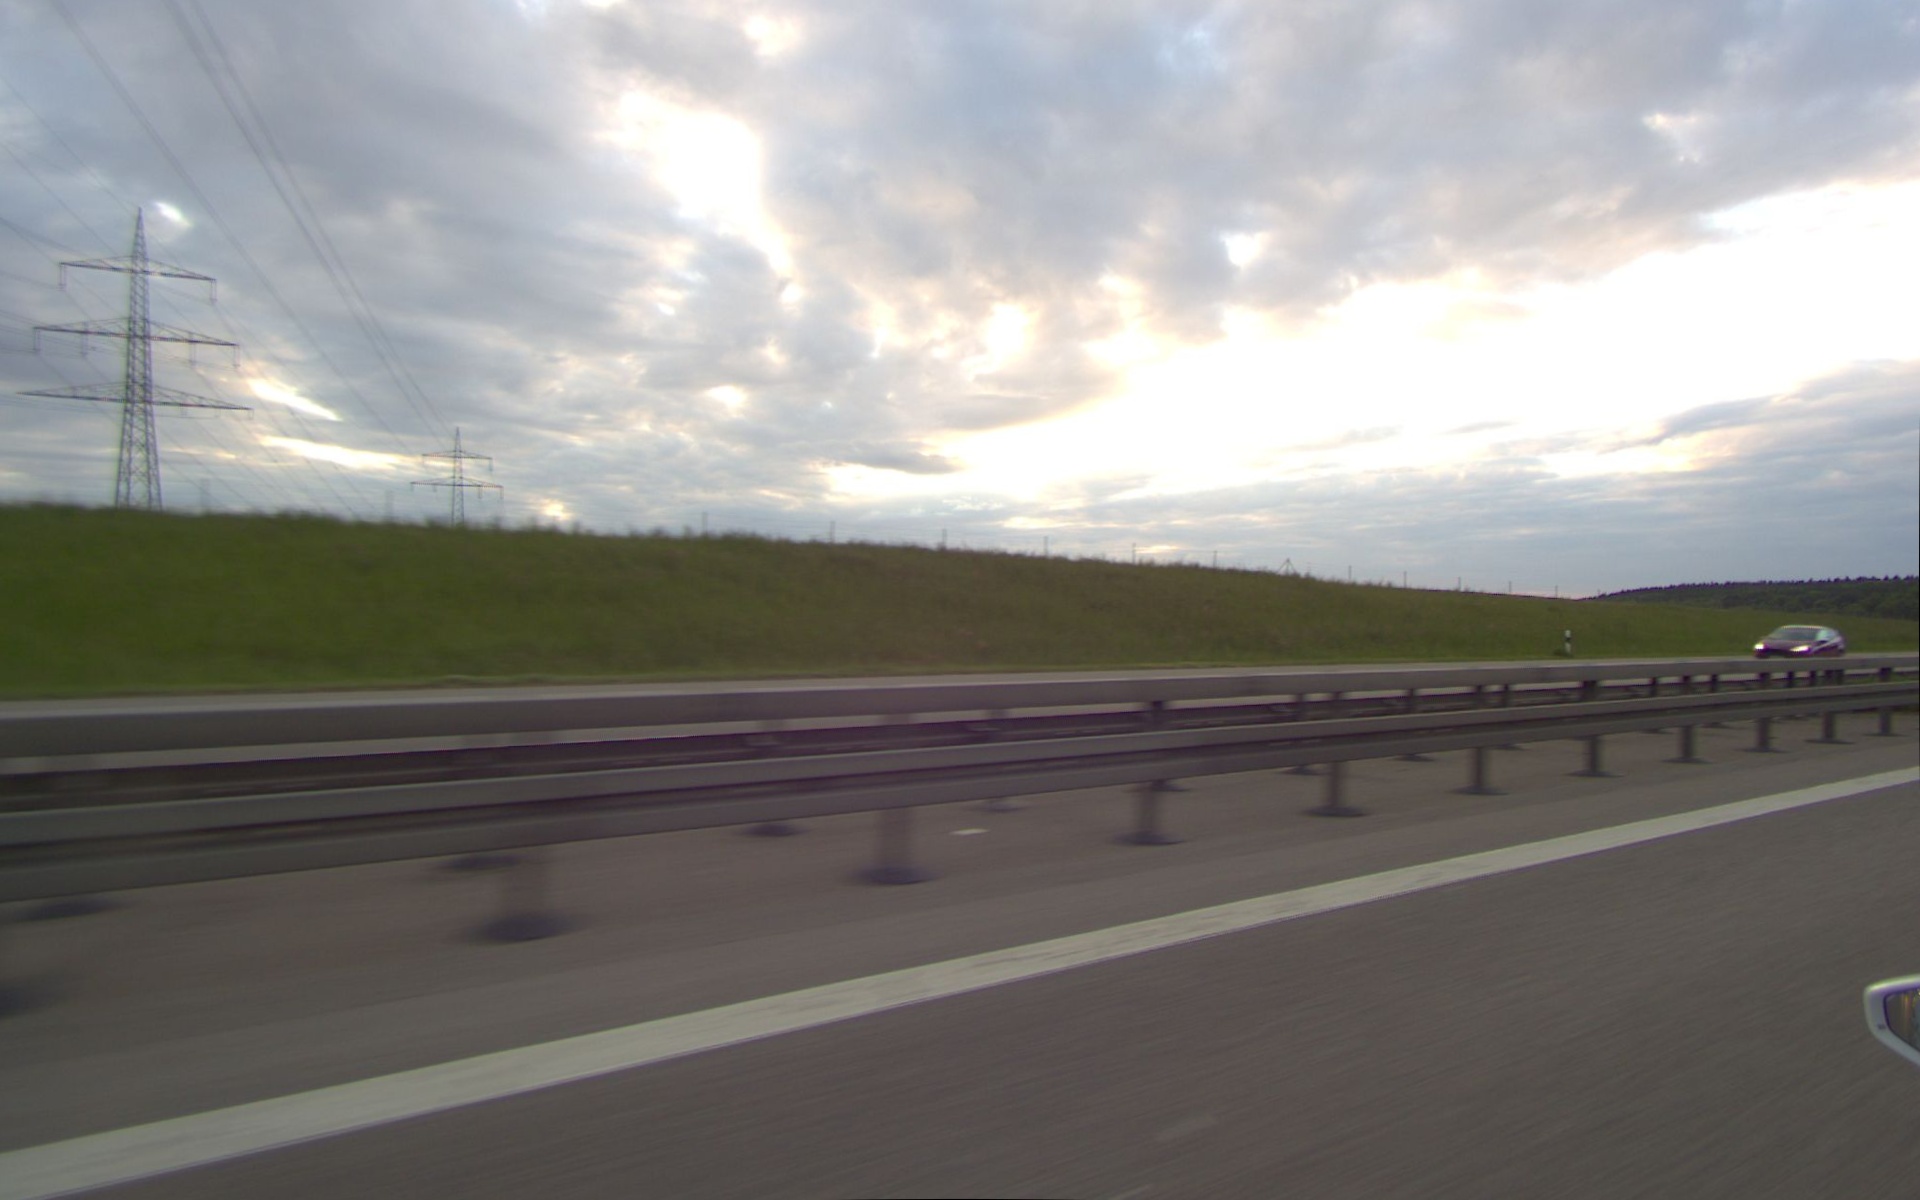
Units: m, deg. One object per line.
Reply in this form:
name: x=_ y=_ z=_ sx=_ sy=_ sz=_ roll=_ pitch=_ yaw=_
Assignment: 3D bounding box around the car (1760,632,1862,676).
car: x=30.673 y=1.904 z=36.182 sx=4.384 sy=1.453 sz=1.519 roll=1 pitch=1 yaw=-32
